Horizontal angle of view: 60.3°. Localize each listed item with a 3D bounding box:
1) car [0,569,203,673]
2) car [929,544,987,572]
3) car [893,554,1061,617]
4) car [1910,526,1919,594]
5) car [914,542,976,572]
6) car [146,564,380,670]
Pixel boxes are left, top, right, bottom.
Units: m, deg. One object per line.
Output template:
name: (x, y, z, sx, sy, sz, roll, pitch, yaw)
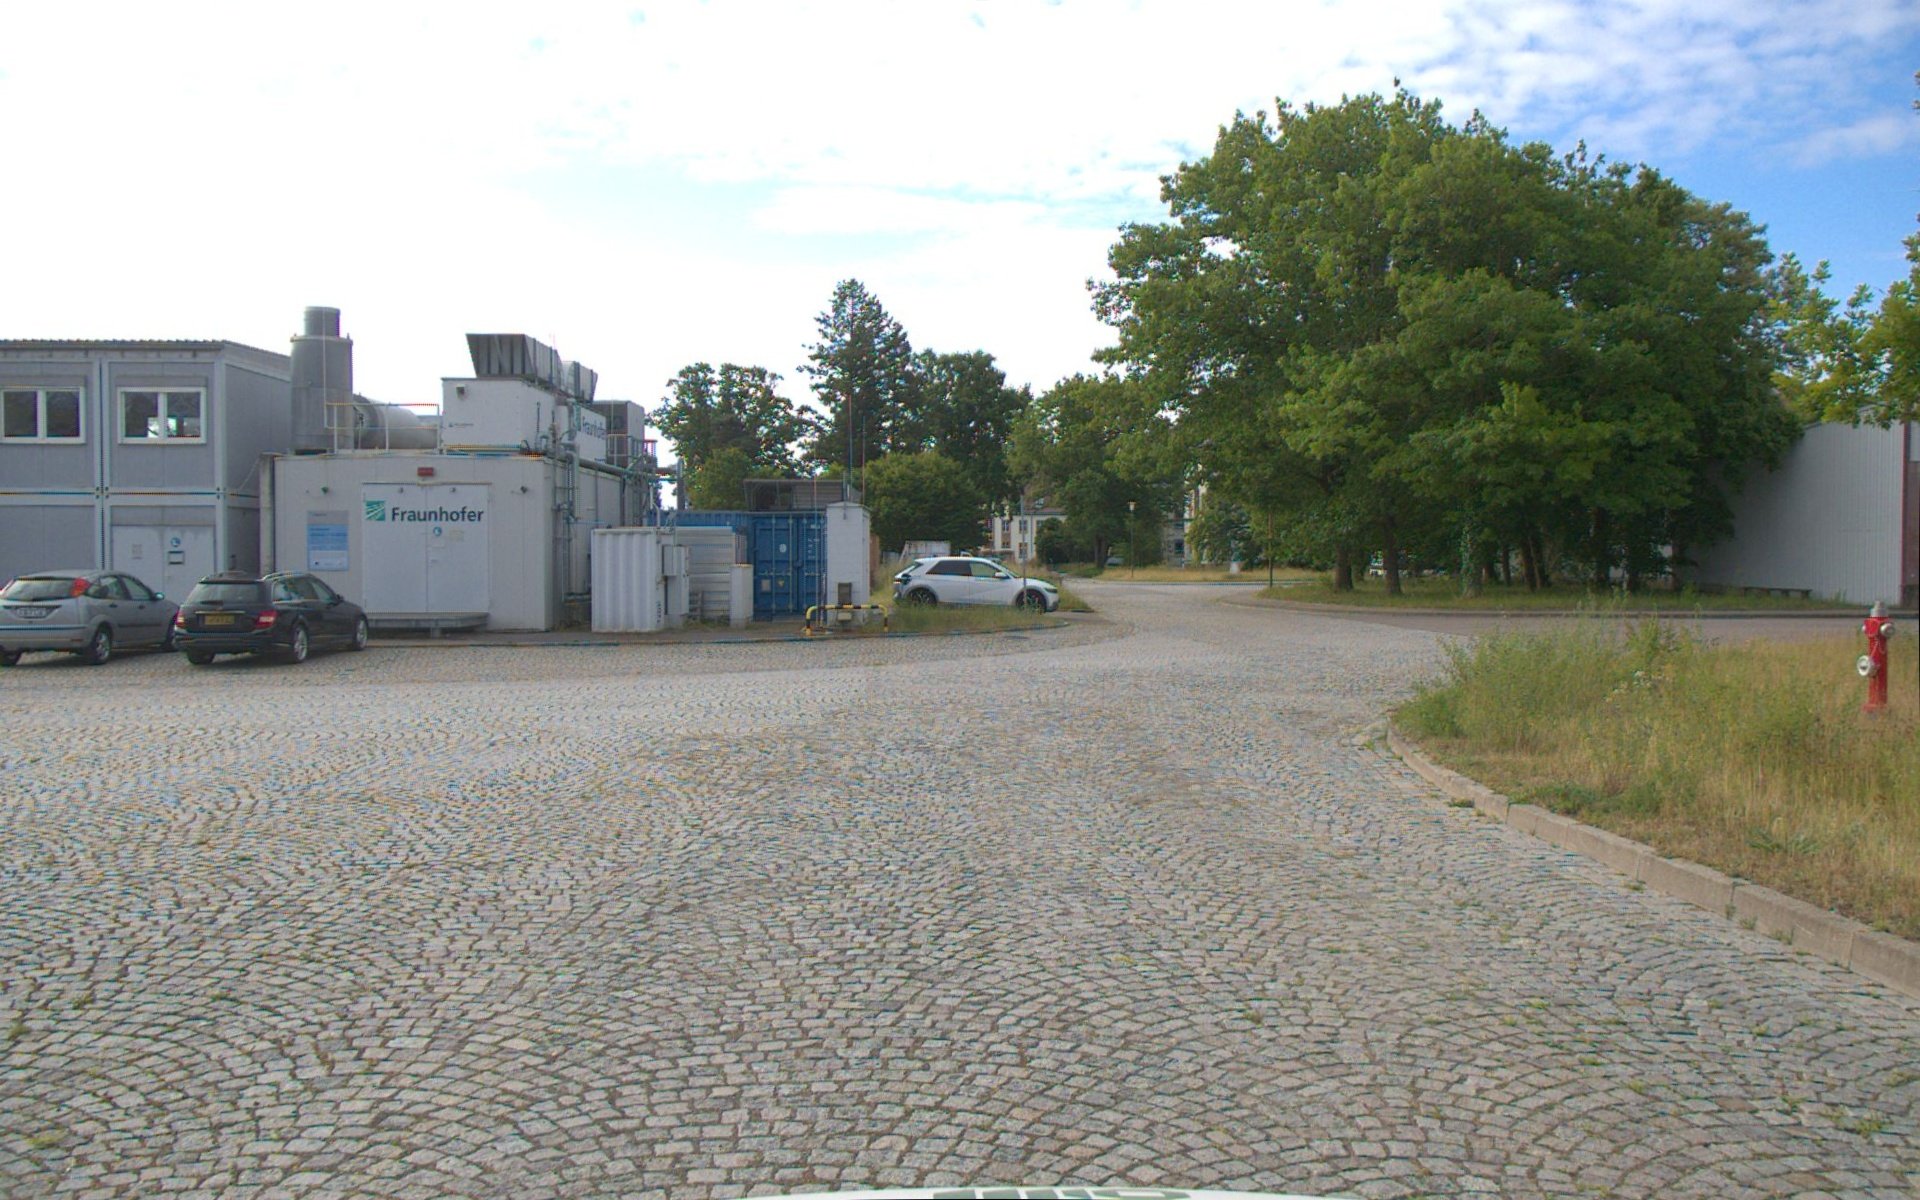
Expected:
car: (-14.596, 0.288, 27.928, 1.868, 1.501, 4.046, -1, 3, -2)
car: (-0.191, -3.735, 146.515, 5.065, 2.378, 2.000, -1, 1, -1)
car: (0.481, -0.397, 44.967, 4.440, 1.627, 2.001, -1, 1, 2)
car: (30.304, -1.178, 48.095, 2.196, 2.048, 5.336, -1, 1, -2)
car: (-1.277, -3.571, 136.942, 5.065, 2.378, 2.000, -1, 1, -1)
car: (-11.541, 0.213, 27.783, 1.995, 1.478, 4.531, -1, 3, 0)
